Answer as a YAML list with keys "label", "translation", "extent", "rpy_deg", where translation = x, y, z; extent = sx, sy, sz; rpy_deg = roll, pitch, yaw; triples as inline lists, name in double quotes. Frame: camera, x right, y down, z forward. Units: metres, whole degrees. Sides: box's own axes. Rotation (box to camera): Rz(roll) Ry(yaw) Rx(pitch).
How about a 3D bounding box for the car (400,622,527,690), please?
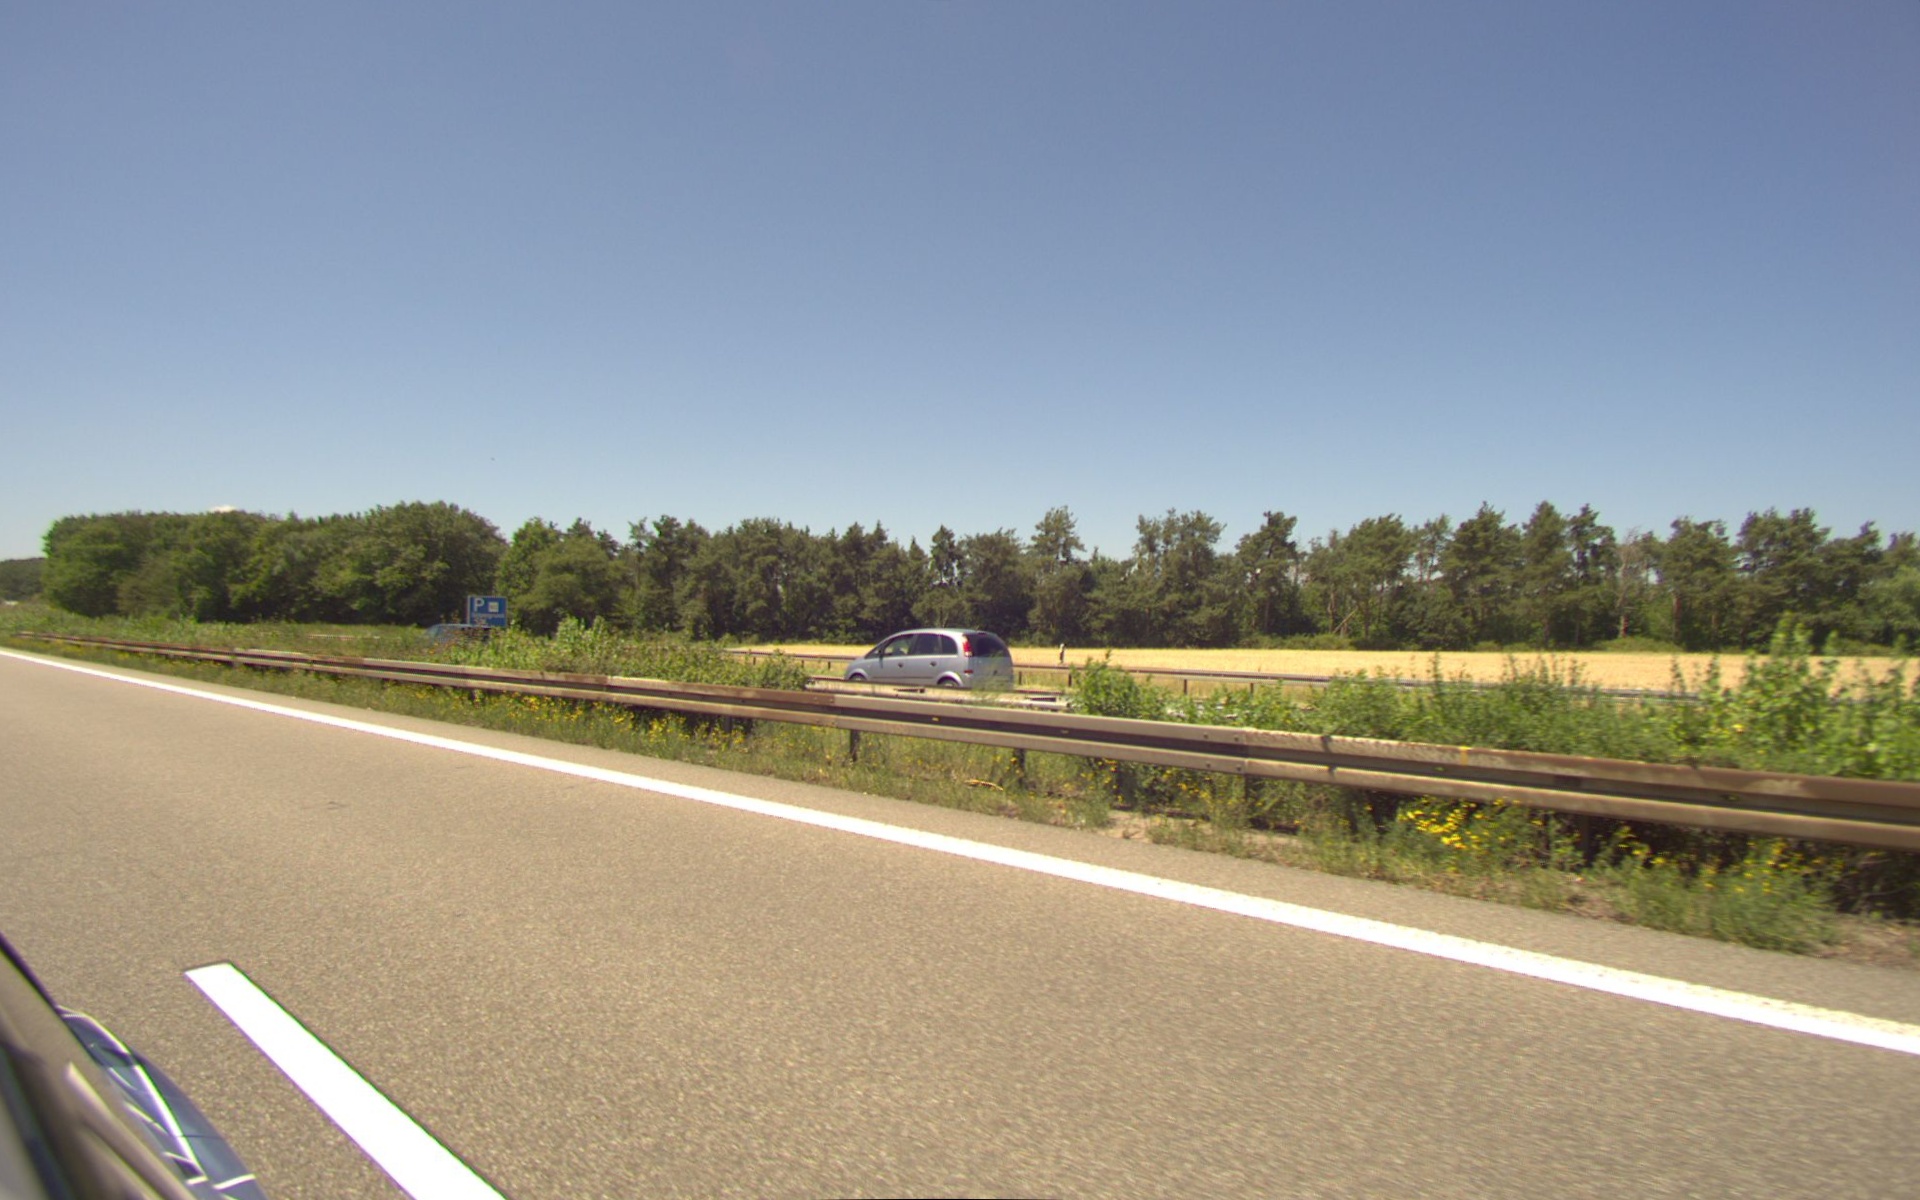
- label: "car"
  translation: [-14.282, 1.546, 29.033]
  extent: [3.998, 1.792, 1.855]
  rpy_deg: [-1, -2, 42]

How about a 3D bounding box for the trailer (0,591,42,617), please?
- label: "trailer"
  translation: [-137.551, 0.620, 148.155]
  extent: [14.376, 3.726, 3.146]
  rpy_deg: [-1, 0, 42]

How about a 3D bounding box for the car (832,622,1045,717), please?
- label: "car"
  translation: [-0.535, 1.379, 21.337]
  extent: [4.429, 1.792, 1.828]
  rpy_deg: [-1, -2, 42]
